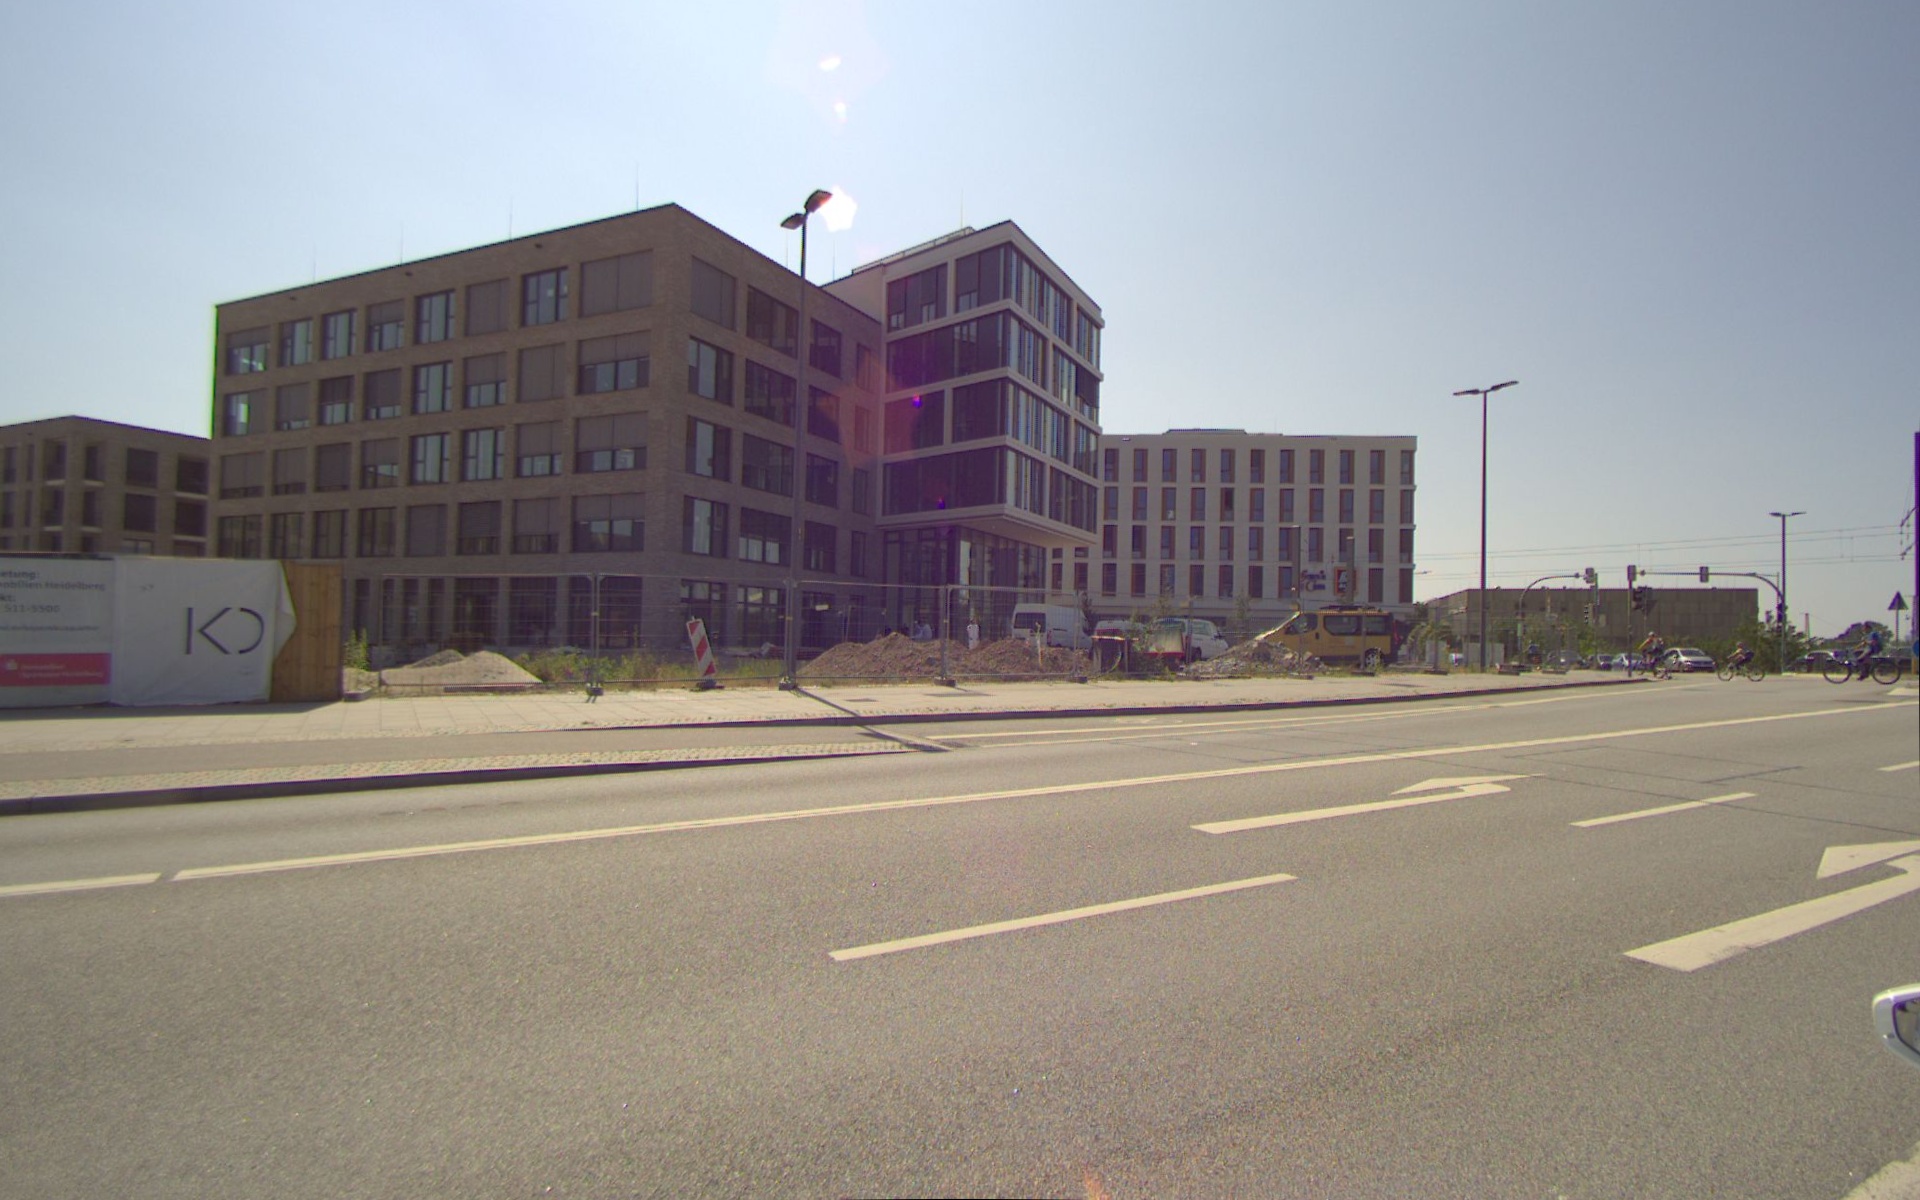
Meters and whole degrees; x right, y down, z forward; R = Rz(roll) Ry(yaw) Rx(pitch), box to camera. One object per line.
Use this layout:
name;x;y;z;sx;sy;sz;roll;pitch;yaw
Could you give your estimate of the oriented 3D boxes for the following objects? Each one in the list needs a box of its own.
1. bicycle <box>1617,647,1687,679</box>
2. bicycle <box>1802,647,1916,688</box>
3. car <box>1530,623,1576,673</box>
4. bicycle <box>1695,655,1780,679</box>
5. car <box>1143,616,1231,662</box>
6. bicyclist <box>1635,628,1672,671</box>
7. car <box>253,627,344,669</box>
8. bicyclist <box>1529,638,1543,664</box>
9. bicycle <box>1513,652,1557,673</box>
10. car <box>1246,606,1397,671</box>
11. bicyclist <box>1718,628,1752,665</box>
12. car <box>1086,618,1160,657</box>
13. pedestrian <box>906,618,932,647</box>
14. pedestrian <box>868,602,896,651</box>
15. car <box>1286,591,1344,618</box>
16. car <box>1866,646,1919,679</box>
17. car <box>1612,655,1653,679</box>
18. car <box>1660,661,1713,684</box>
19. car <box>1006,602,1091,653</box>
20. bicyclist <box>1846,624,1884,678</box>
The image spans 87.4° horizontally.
bicycle;25.245;2.284;36.708;0.594;1.020;2.510;1;-1;-7
bicycle;27.413;2.073;30.681;2.498;1.148;0.724;-7;-5;43
car;26.312;2.088;44.588;1.646;2.040;3.992;2;0;30
bicycle;26.215;2.245;33.919;0.509;0.701;2.236;2;-1;-29
car;9.567;1.618;42.164;1.969;1.730;4.546;2;0;35
bicyclist;25.281;1.789;36.625;0.828;1.522;0.658;2;0;-8
car;-30.440;2.169;46.212;3.708;1.675;1.834;2;0;26
bicyclist;35.023;3.107;61.055;0.708;1.524;0.823;2;-1;30
bicycle;34.957;3.780;61.078;2.284;1.148;0.636;1;-1;29
car;12.048;1.249;33.751;4.395;1.915;2.001;2;0;8
bicyclist;26.210;1.567;33.977;0.722;1.191;0.654;2;0;-29
car;7.150;1.603;43.799;1.773;1.528;3.991;2;0;31
pedestrian;-2.004;1.594;49.459;1.099;1.391;0.742;2;0;-17
pedestrian;-3.375;1.131;43.354;0.949;2.040;0.940;2;0;-17
car;28.926;0.345;81.954;1.986;2.040;3.949;2;0;-43
car;45.562;3.017;47.564;1.635;1.408;3.784;2;0;-6
car;49.210;4.884;73.541;1.554;1.458;3.155;2;0;15
car;45.470;4.500;62.898;1.269;1.257;2.455;2;-1;-41
car;3.973;1.224;44.737;2.175;2.083;4.164;2;0;30
bicyclist;27.563;1.531;30.594;0.813;1.580;0.858;2;0;43
